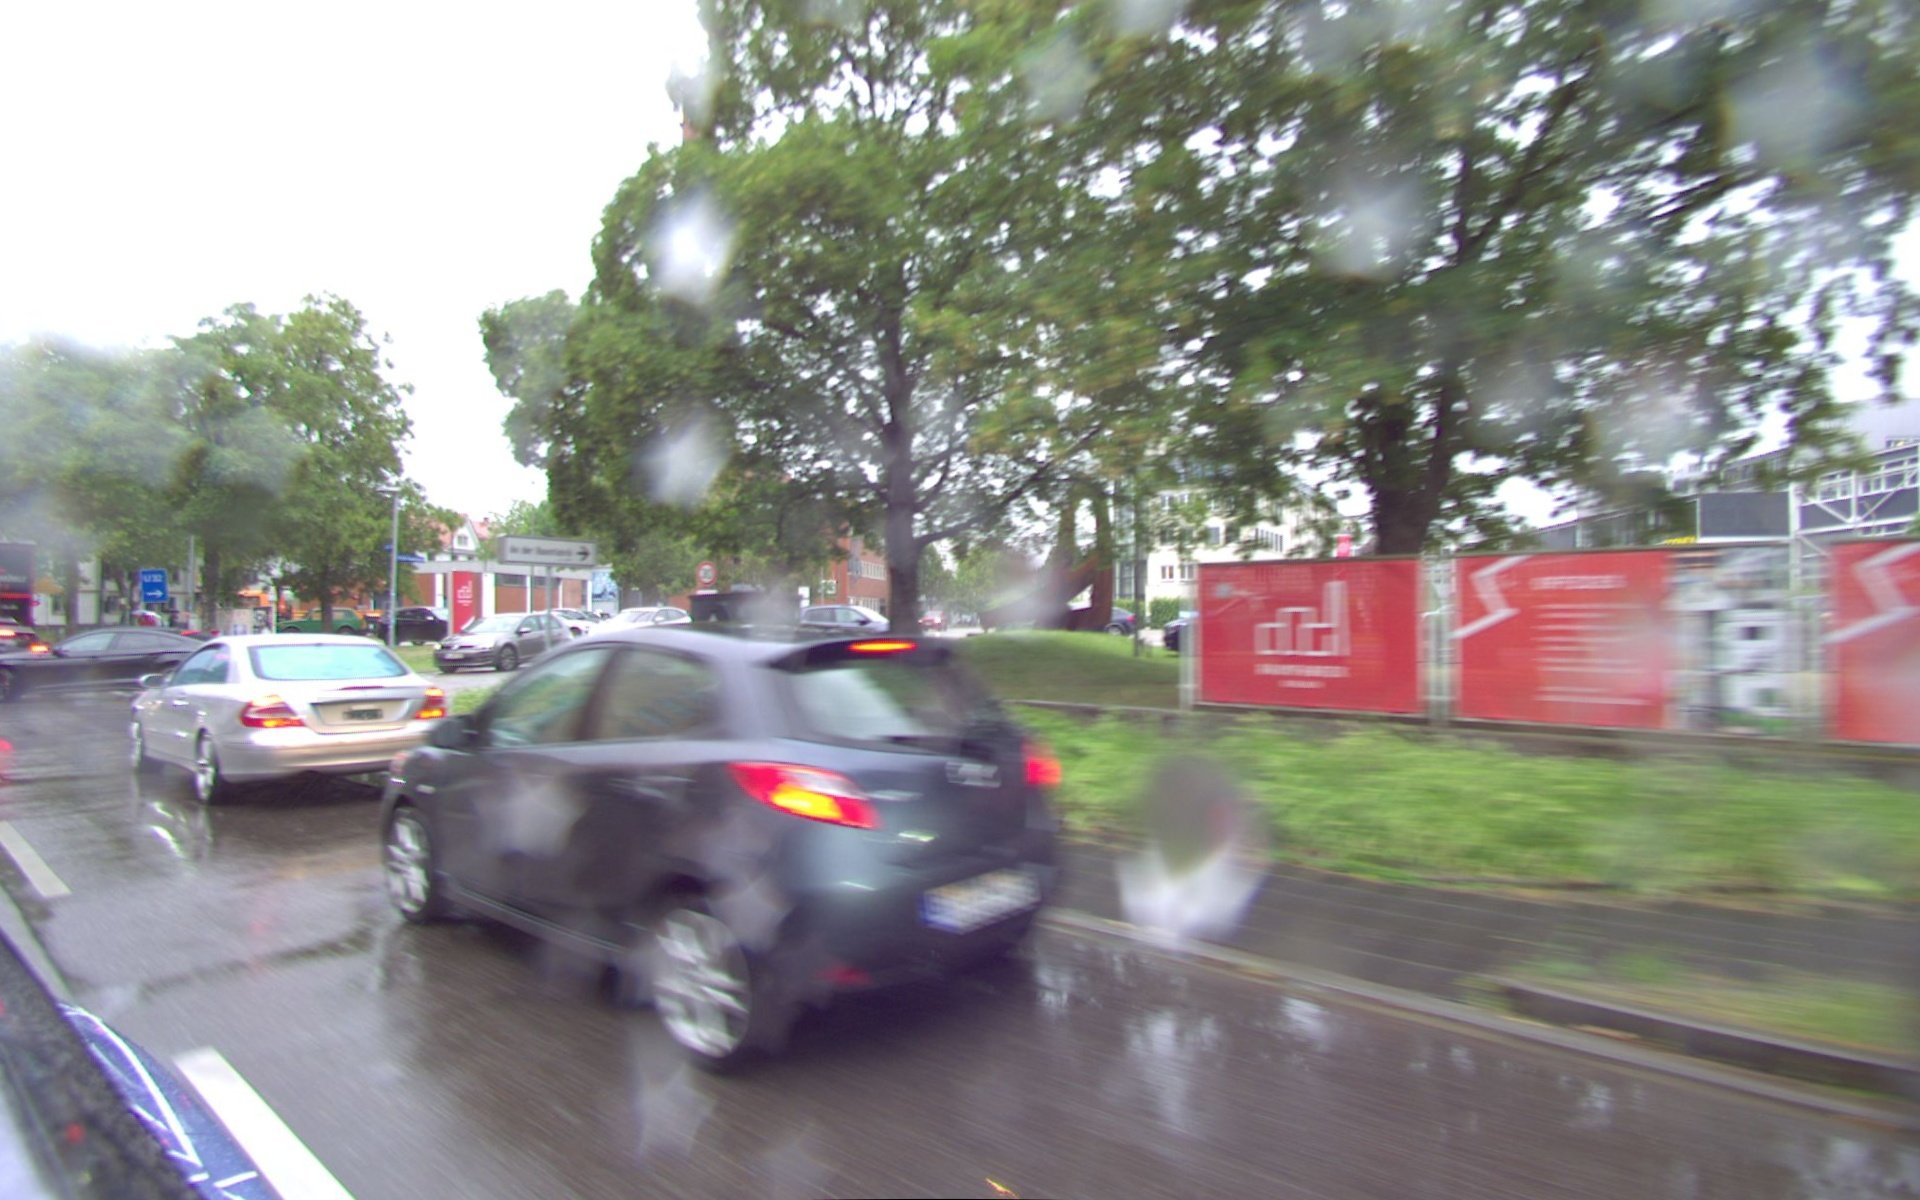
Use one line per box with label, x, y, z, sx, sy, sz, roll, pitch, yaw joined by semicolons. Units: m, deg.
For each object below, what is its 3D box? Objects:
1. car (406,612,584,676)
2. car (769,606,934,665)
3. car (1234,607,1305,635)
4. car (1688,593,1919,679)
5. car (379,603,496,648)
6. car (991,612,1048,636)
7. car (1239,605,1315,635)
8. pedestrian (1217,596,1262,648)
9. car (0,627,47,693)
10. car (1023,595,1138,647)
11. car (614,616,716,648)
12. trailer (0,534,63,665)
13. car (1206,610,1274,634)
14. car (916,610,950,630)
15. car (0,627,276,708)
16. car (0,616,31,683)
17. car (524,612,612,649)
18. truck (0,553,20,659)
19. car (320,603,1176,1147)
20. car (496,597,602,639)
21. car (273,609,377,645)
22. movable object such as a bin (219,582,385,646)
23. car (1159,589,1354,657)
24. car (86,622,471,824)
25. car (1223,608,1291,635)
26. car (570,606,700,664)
car;-11.651;1.051;25.712;1.991;1.405;4.326;-1;0;11
car;-2.991;1.004;28.211;4.255;1.521;1.783;-1;-2;12
car;19.448;1.311;63.740;3.954;1.627;1.995;-2;-2;9
car;17.105;0.701;20.003;3.962;1.595;1.794;-1;-1;15
car;-21.713;1.081;42.134;3.956;1.804;1.994;-1;-2;10
car;5.229;2.086;89.336;4.892;2.029;1.995;-1;-1;8
car;18.605;1.207;59.585;3.954;1.627;1.995;-2;-2;9
pedestrian;10.277;0.808;37.214;1.472;1.854;1.061;-1;-1;22
car;-21.875;1.310;22.703;4.337;1.371;1.707;-2;-3;43
car;5.349;0.932;44.794;4.919;2.167;1.994;-1;-1;10
car;-13.483;1.468;46.301;4.262;1.389;1.618;-1;-2;10
trailer;-35.573;0.144;36.223;15.045;4.080;3.406;-2;-2;42
car;20.481;1.599;74.043;4.387;1.627;1.998;-2;-2;3
car;-2.237;1.647;84.904;1.980;1.587;3.984;-1;-1;13
car;-16.692;1.276;19.994;4.844;1.465;2.092;0;-2;-16
car;-26.736;1.300;27.456;4.802;1.631;1.847;1;0;43
car;-20.855;1.638;53.864;3.960;1.806;1.992;-2;-2;13
truck;-40.781;0.315;40.892;6.971;4.109;3.414;-2;-1;41
car;-1.317;0.794;4.771;4.263;1.431;1.760;-2;-2;42
car;-20.771;0.934;51.270;4.620;2.029;1.996;-1;-1;7
car;-30.279;1.269;48.285;3.938;1.613;2.003;0;-2;-41
movable object such as a bin;-32.523;0.686;50.145;6.669;2.953;2.780;0;-1;-38
car;7.170;0.573;24.802;4.393;1.538;1.990;-1;-1;15
car;-6.589;0.935;9.536;4.826;1.414;1.757;-1;0;40
car;19.443;1.394;66.433;3.954;1.627;1.995;-2;-2;9
car;-10.299;1.070;32.495;2.024;1.720;4.632;-1;-1;11
